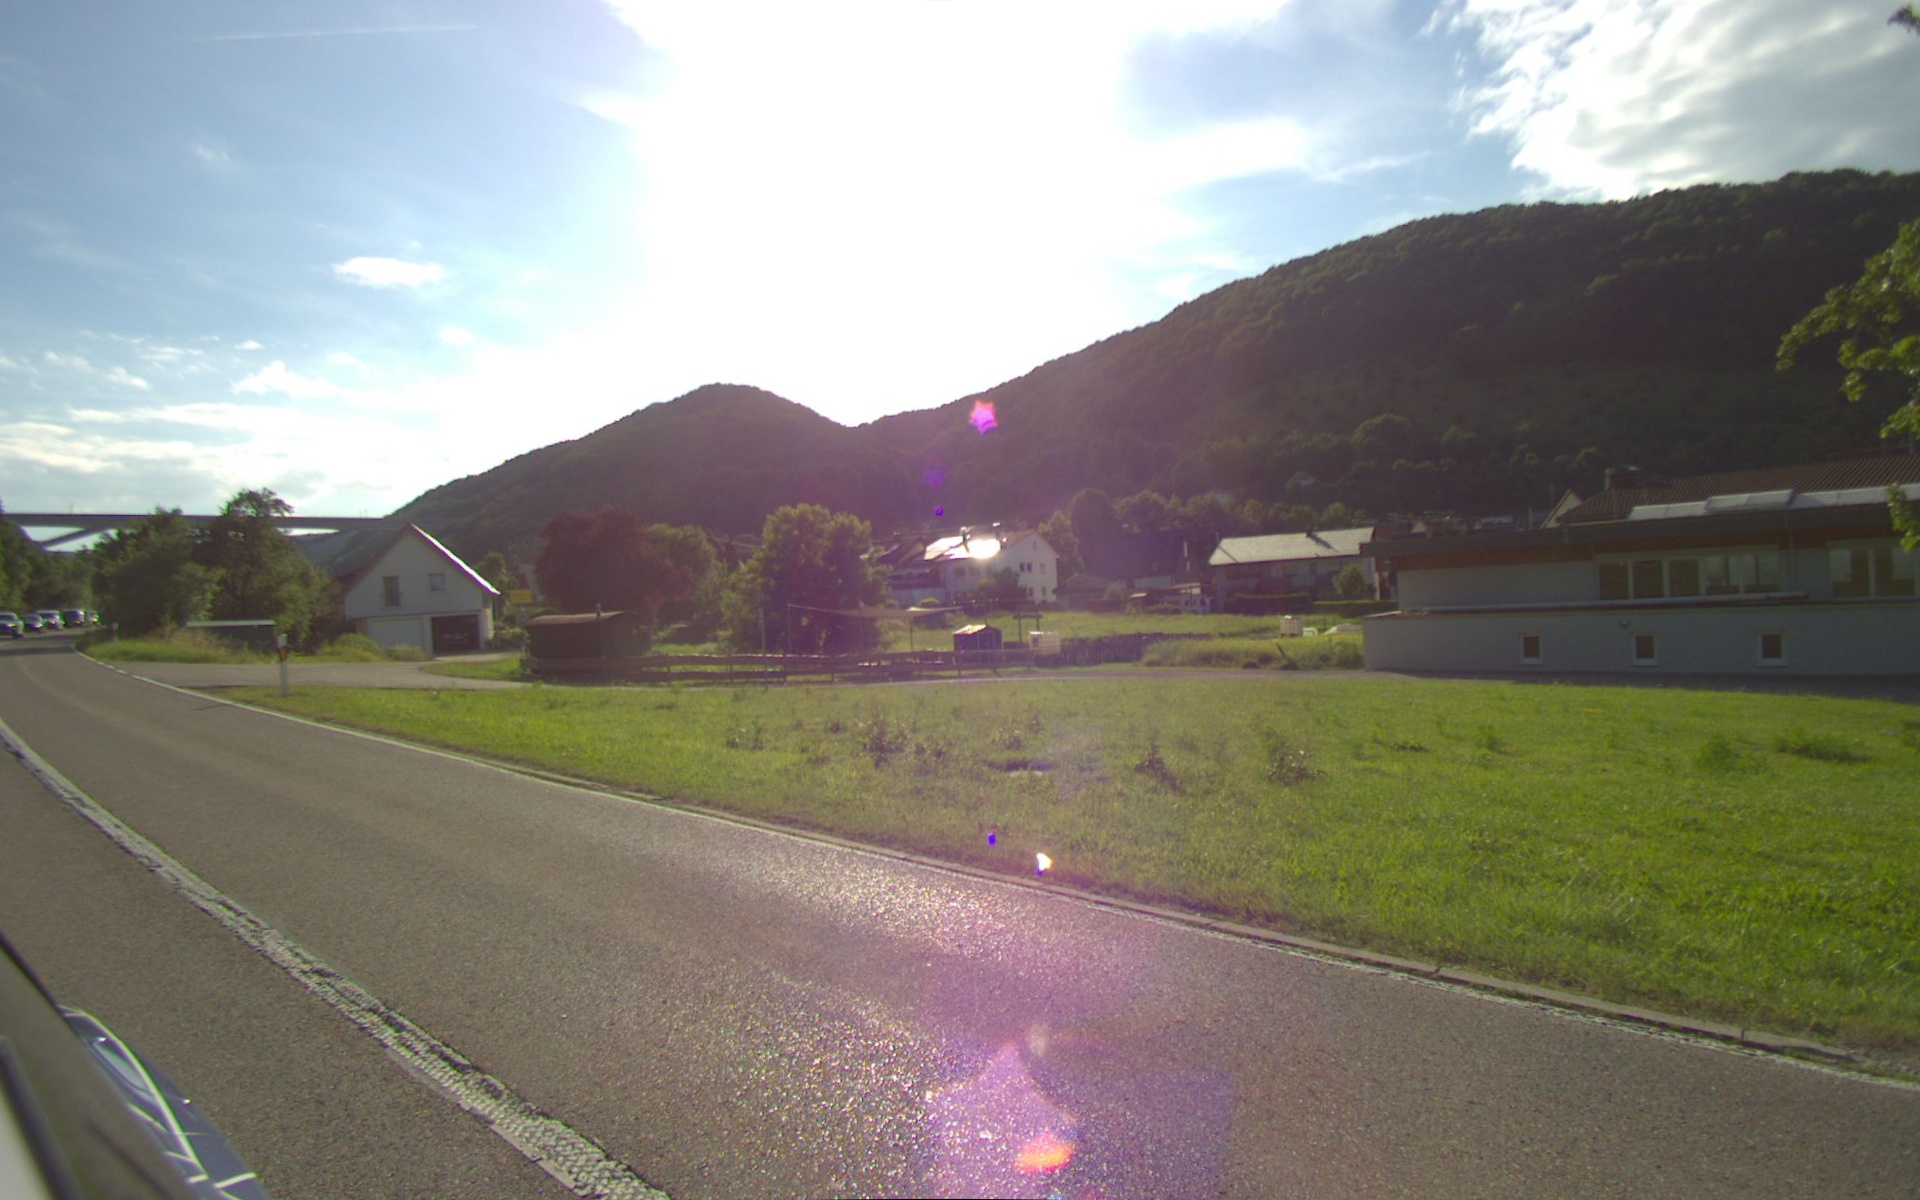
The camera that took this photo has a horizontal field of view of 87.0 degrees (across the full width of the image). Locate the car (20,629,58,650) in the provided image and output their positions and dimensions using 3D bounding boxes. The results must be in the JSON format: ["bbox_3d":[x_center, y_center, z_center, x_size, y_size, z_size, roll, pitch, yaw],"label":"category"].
[{"bbox_3d":[-70.198,2.976,77.175,1.813,1.564,4.186,1,-2,-38],"label":"car"}]

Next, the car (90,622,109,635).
[{"bbox_3d":[-112.157,3.700,131.914,1.814,1.564,4.185,1,-2,-39],"label":"car"}]

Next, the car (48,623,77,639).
[{"bbox_3d":[-89.807,3.075,101.347,1.790,1.630,4.009,1,-2,-37],"label":"car"}]

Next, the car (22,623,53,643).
[{"bbox_3d":[-79.960,2.844,87.756,1.791,1.630,4.007,1,-2,-39],"label":"car"}]

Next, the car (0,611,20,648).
[{"bbox_3d":[-53.900,1.620,56.452,1.886,2.029,4.007,0,-1,-40],"label":"car"}]

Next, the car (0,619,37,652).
[{"bbox_3d":[-60.050,2.248,64.232,1.885,2.029,4.008,1,-2,-39],"label":"car"}]
